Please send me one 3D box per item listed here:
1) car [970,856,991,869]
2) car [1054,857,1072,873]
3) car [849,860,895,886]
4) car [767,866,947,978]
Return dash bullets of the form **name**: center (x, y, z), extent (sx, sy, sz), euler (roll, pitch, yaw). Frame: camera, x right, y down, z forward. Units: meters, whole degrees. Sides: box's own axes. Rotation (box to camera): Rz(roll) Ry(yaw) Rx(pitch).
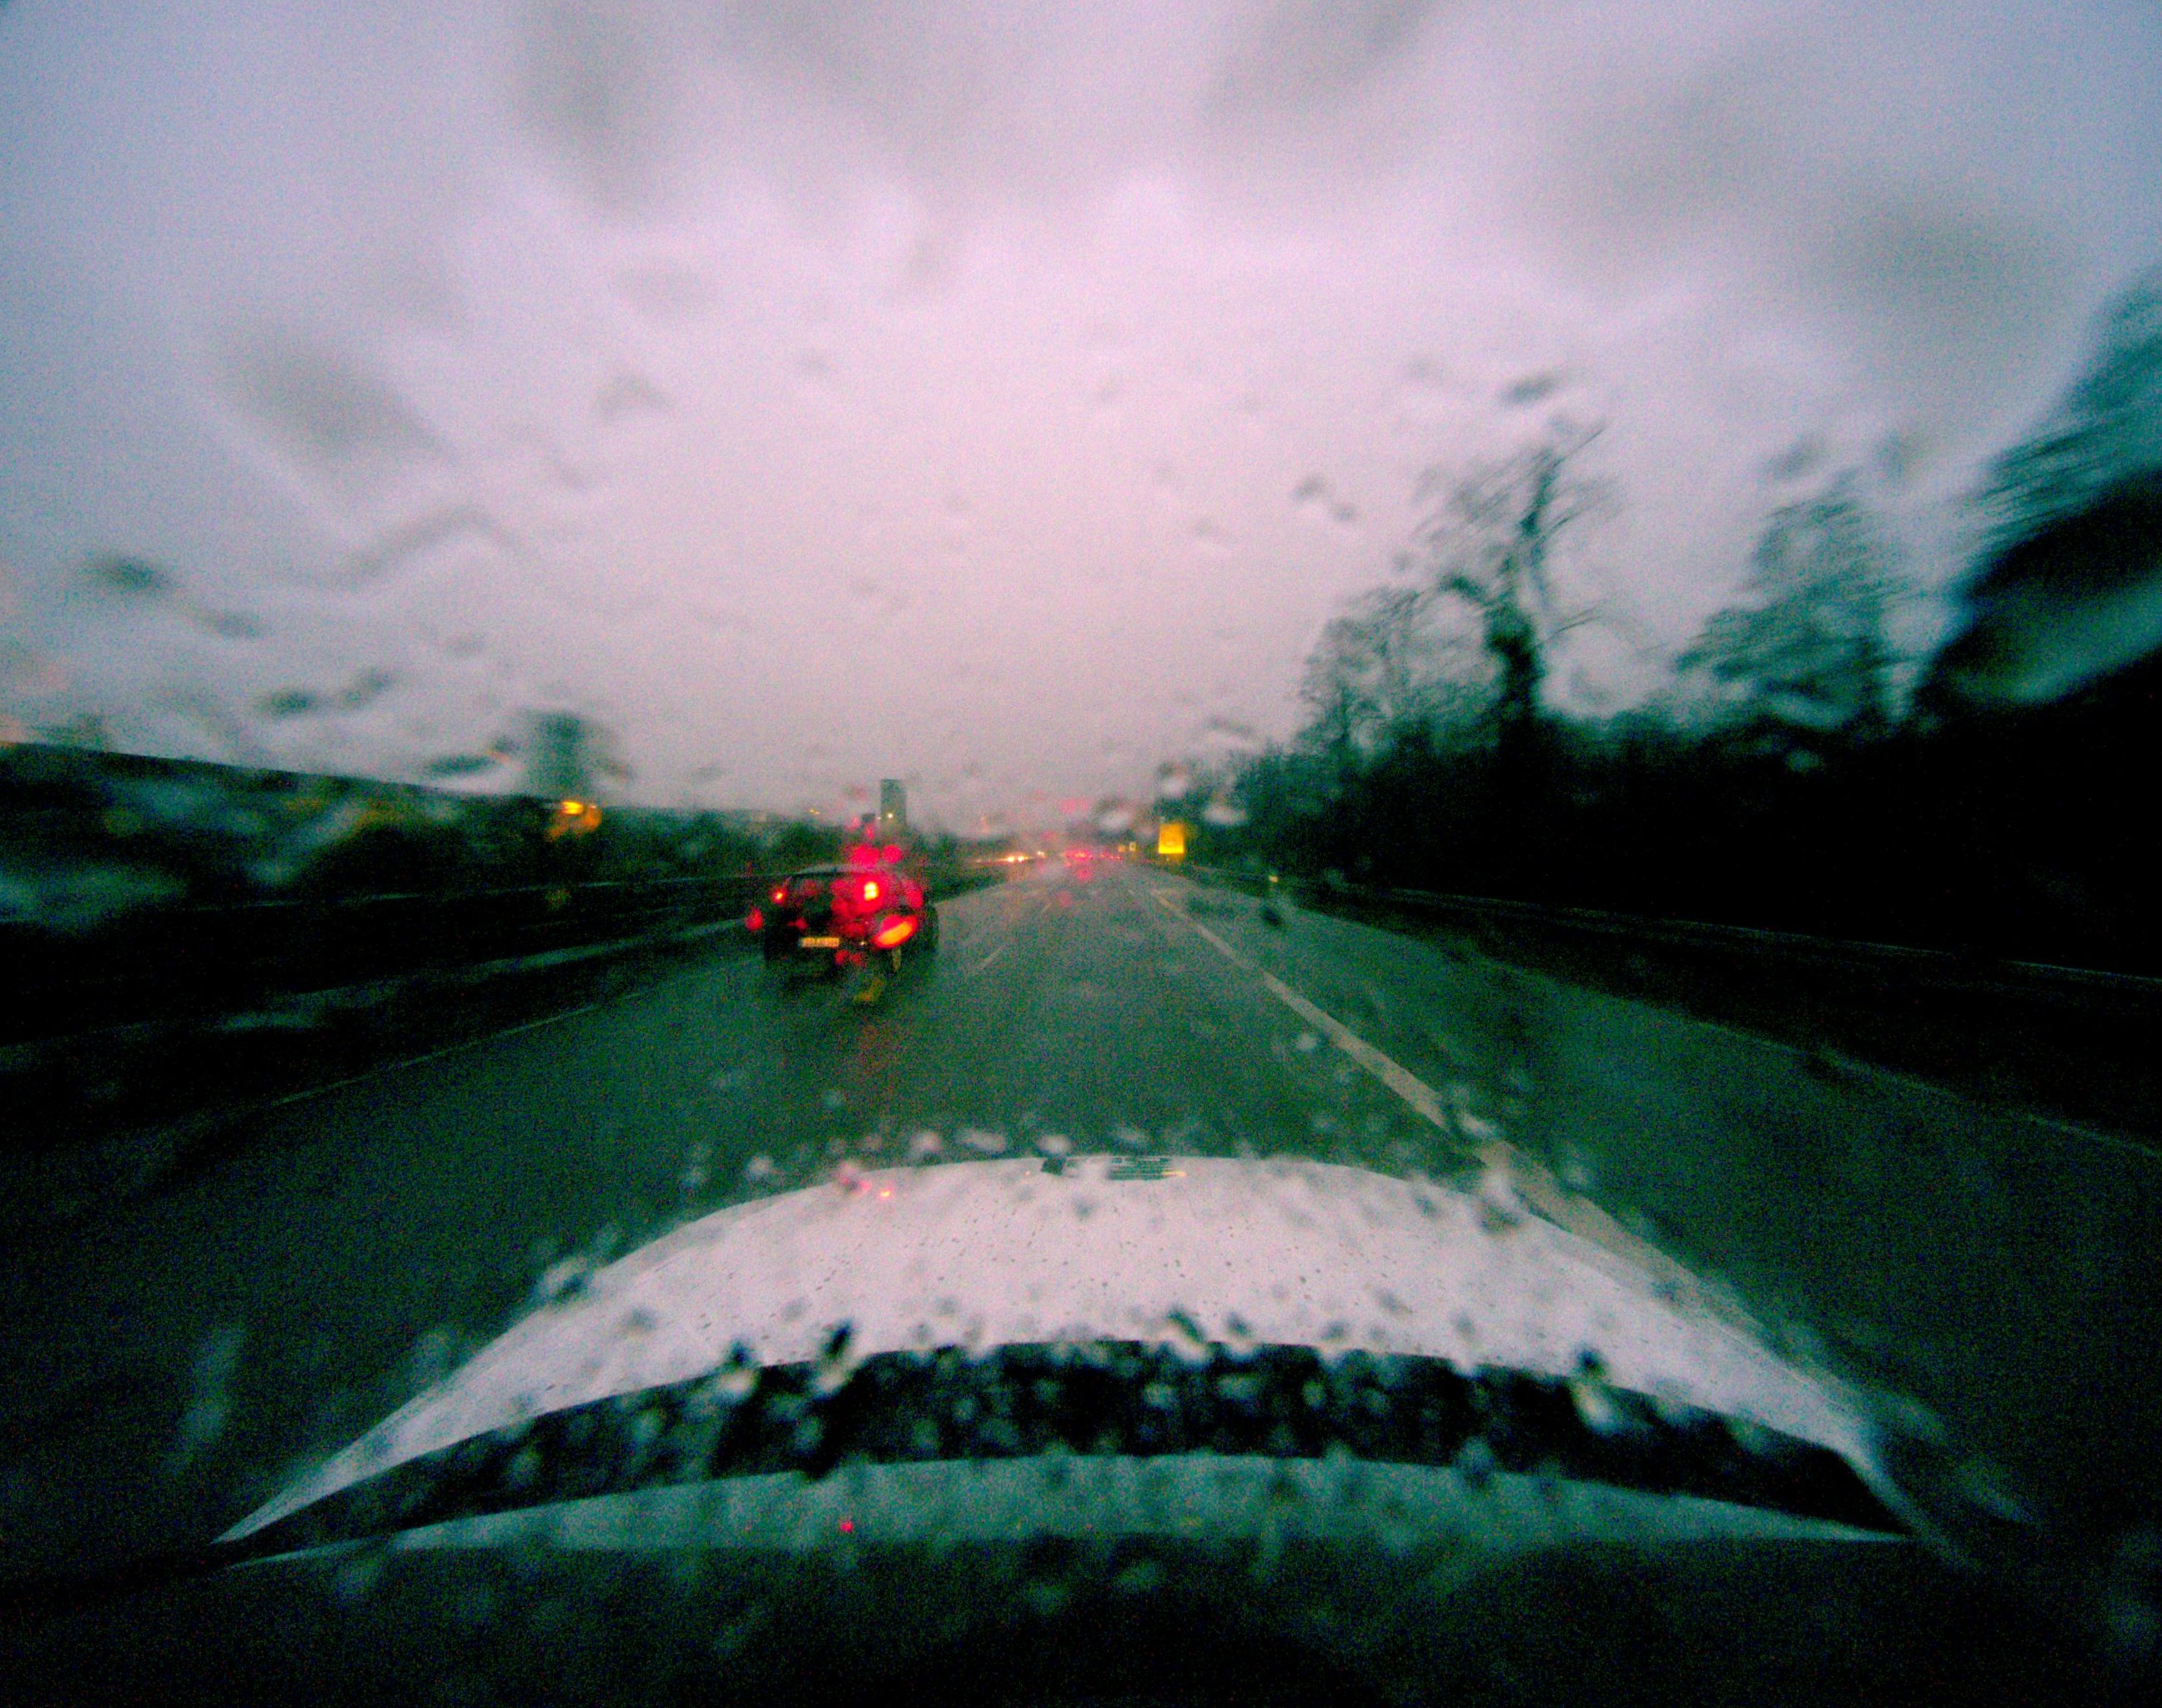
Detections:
- **car**: center (-11.596, 0.992, 94.060), extent (1.730, 1.508, 4.002), euler (0, 0, 2)
- **car**: center (-1.602, 0.926, 71.851), extent (1.411, 1.317, 3.083), euler (1, 0, 1)
- **car**: center (-13.003, 1.147, 50.868), extent (1.730, 1.508, 4.002), euler (0, 0, 2)
- **car**: center (-3.225, 0.903, 12.532), extent (1.620, 1.392, 3.999), euler (1, 0, 0)
